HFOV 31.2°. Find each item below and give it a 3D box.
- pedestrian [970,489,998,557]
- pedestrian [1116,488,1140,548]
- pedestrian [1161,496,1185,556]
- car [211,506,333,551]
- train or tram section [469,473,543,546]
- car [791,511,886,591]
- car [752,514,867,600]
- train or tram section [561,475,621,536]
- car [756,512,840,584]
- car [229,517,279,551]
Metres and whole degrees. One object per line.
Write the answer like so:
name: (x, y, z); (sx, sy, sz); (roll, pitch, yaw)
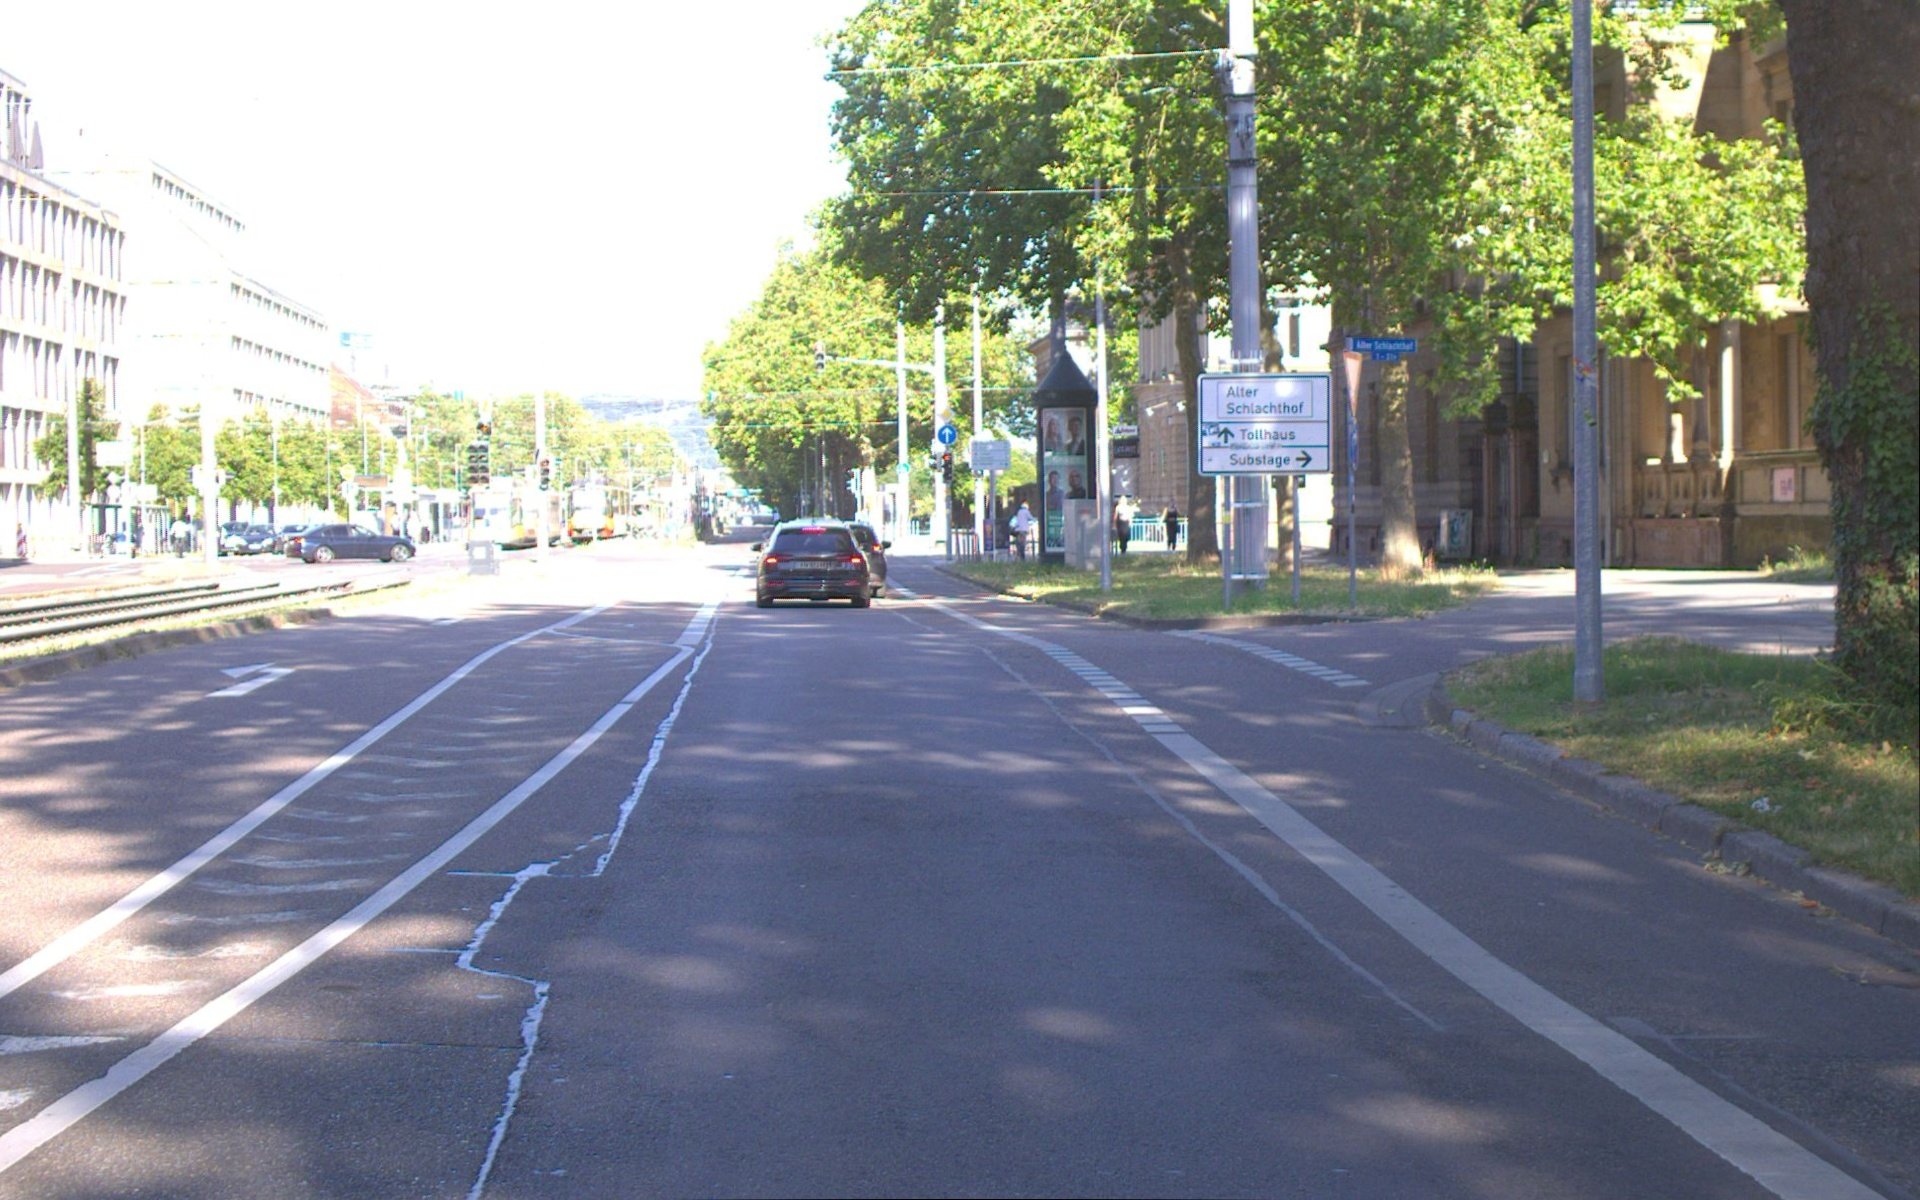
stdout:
pedestrian: (0.605, -1.962, 87.318); (0.588, 1.722, 0.650); (1, 2, 9)
pedestrian: (4.895, -2.384, 100.076); (0.588, 1.722, 0.650); (1, 2, 9)
pedestrian: (6.208, -2.155, 100.046); (0.588, 1.722, 0.650); (1, 2, 11)
car: (-24.152, -2.494, 120.629); (3.986, 1.505, 1.801); (1, 1, -18)
train or tram section: (-22.114, -4.411, 167.969); (2.825, 3.439, 9.065); (-1, 2, -3)
car: (-2.419, -0.982, 67.571); (1.794, 1.505, 4.001); (-1, 1, -3)
car: (-2.565, -0.752, 57.812); (1.833, 1.386, 4.160); (0, 1, -4)
train or tram section: (-21.340, -5.471, 199.257); (2.825, 3.439, 9.065); (-1, 2, -2)
car: (-3.587, -1.164, 76.030); (1.794, 1.505, 4.001); (-1, 1, -3)
car: (-32.271, -3.019, 157.170); (1.794, 1.505, 4.001); (-1, 2, -6)
